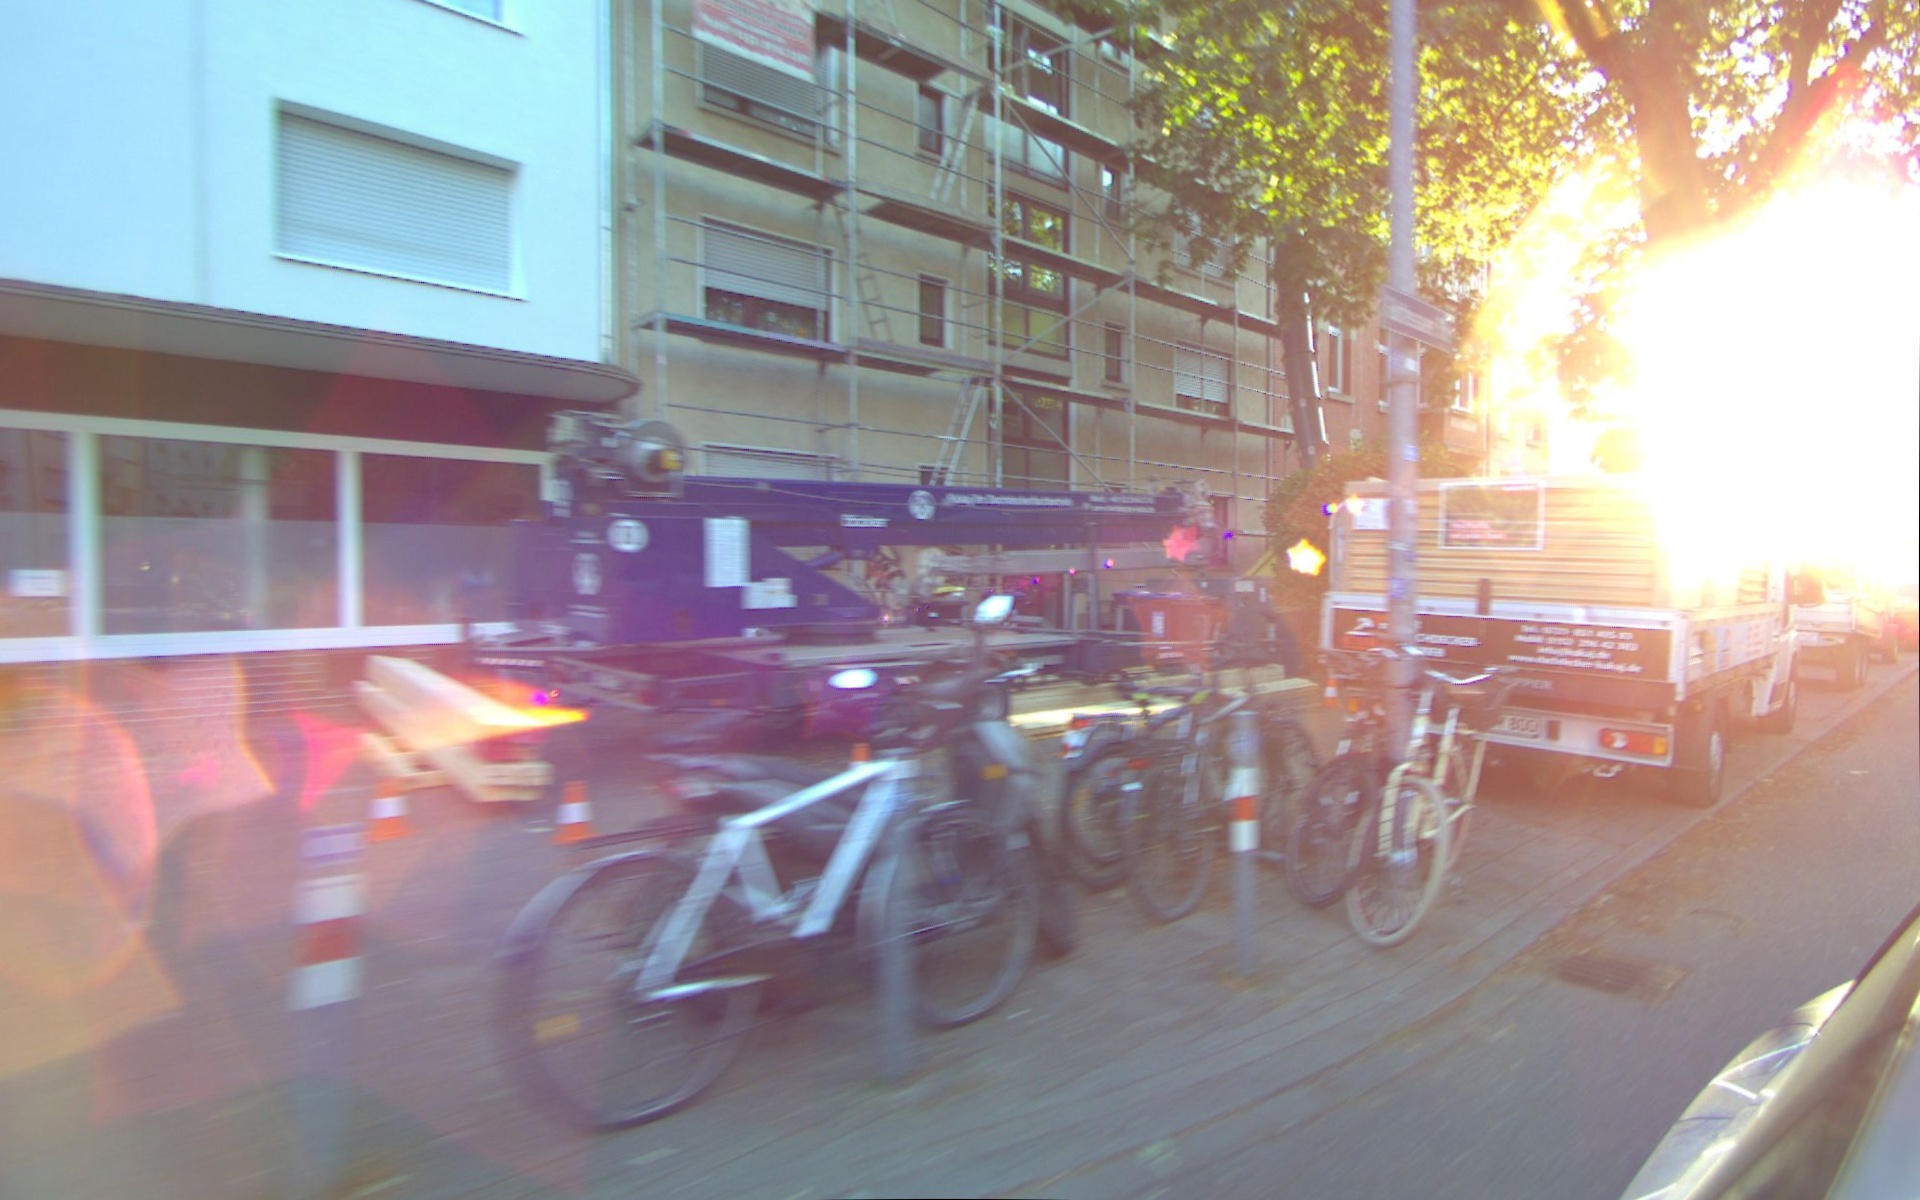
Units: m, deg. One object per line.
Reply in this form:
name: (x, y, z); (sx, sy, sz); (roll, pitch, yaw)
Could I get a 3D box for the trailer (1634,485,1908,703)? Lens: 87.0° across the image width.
trailer: (10.533, -0.163, 13.018); (4.566, 2.323, 1.958); (-1, 4, -42)

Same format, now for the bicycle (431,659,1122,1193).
bicycle: (-0.429, 0.816, 3.136); (2.113, 1.123, 0.407); (-1, 3, -34)

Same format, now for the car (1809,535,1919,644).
car: (18.803, -0.242, 20.509); (4.536, 1.966, 1.842); (-1, 4, -43)

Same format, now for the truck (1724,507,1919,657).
truck: (15.098, -0.354, 17.521); (4.563, 2.273, 1.958); (-1, 4, -41)

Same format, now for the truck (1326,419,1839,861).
truck: (5.464, 0.084, 8.236); (6.666, 2.272, 1.979); (-2, 3, -44)

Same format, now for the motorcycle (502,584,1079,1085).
motorcycle: (-0.506, 0.660, 3.654); (2.023, 1.372, 0.504); (-2, 4, -35)

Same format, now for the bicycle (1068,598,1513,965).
bicycle: (1.386, 0.686, 4.601); (1.903, 1.273, 0.400); (4, 4, 44)

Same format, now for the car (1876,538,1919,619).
car: (26.552, -0.566, 27.560); (4.750, 2.083, 1.957); (-1, 4, -44)
